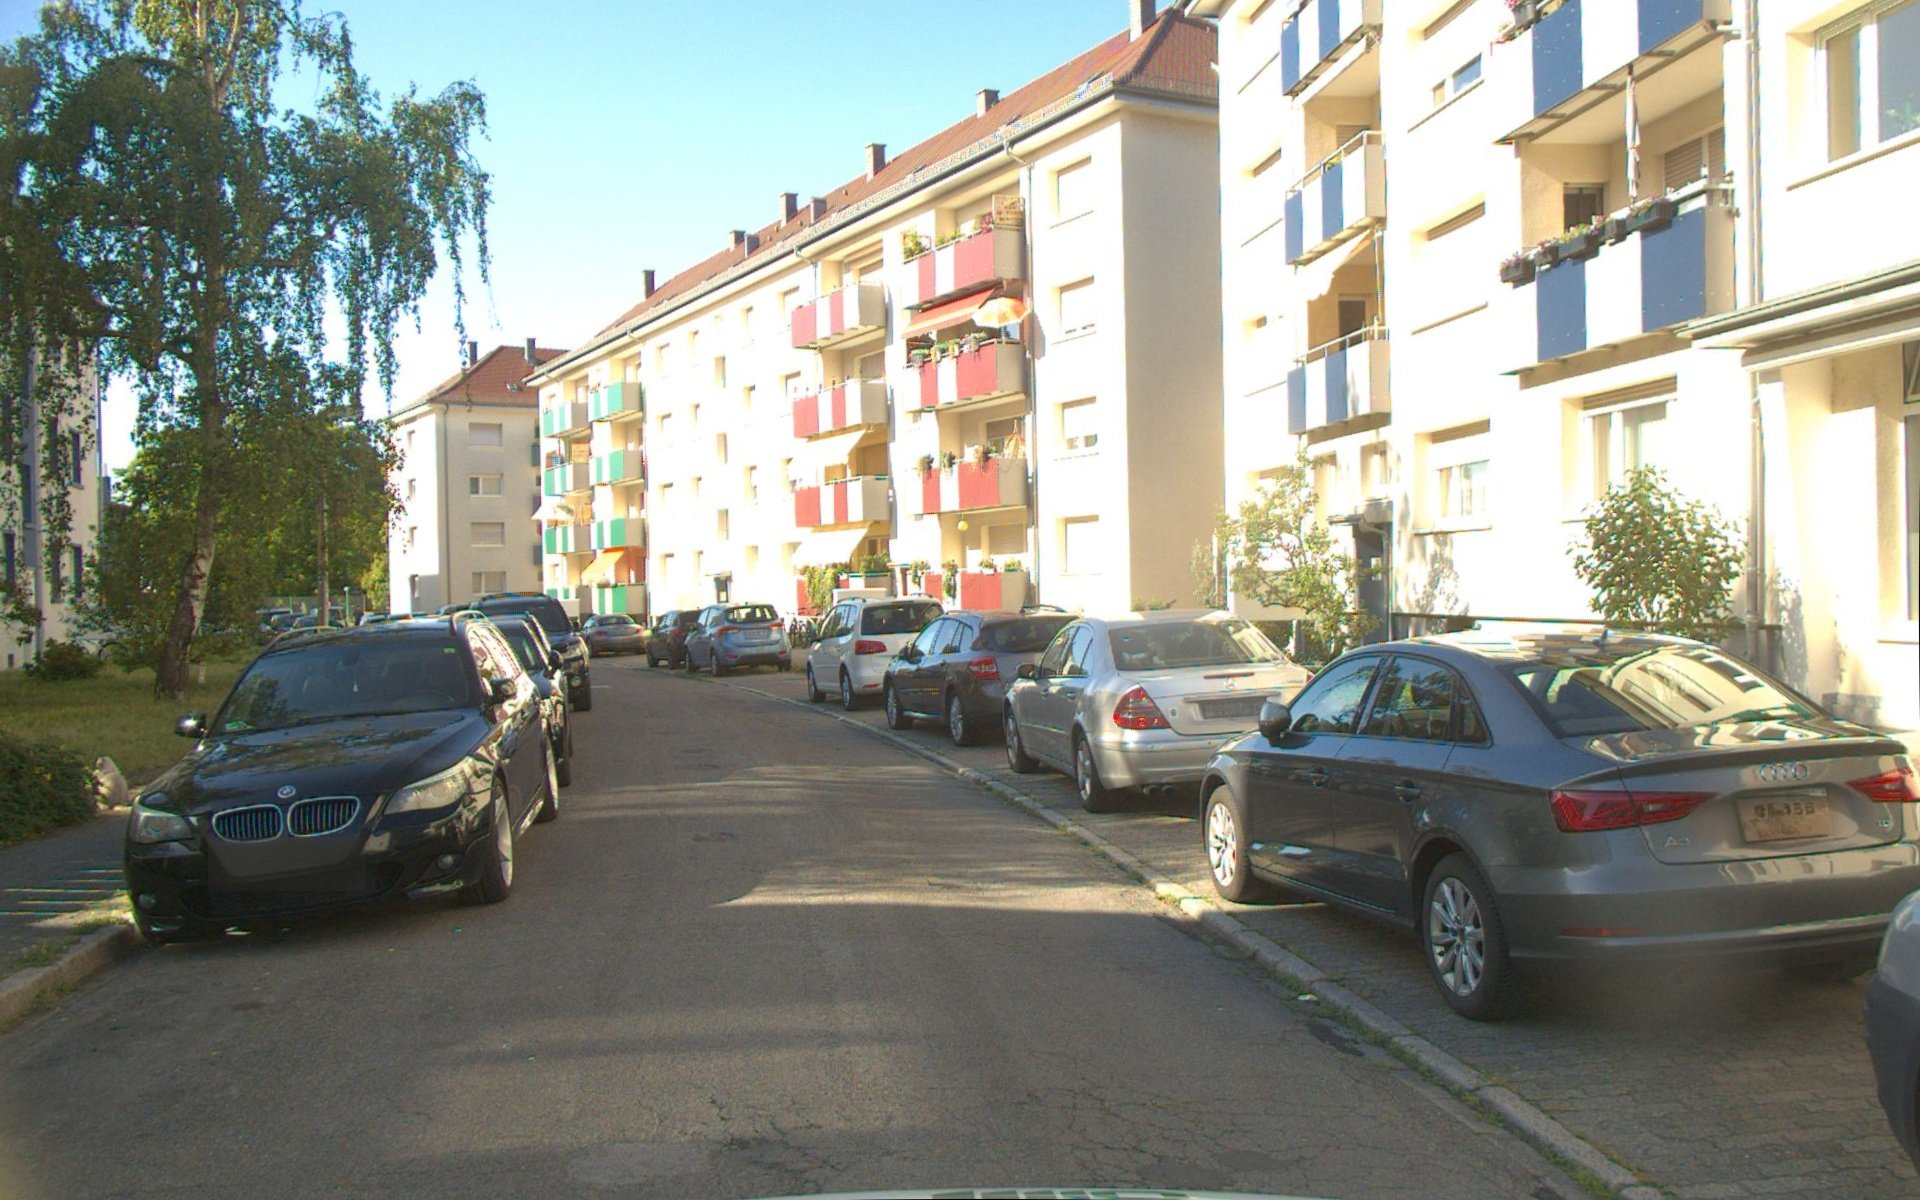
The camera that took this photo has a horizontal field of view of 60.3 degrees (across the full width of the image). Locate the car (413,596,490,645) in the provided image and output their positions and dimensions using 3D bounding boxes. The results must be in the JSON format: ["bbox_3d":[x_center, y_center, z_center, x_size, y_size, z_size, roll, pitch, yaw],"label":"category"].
[{"bbox_3d":[-21.235,0.861,68.998,1.880,1.888,4.292,-2,-1,-34],"label":"car"}]

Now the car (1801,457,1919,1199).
[{"bbox_3d":[3.242,0.547,2.124,1.715,1.855,4.124,-4,1,-8],"label":"car"}]

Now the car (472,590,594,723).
[{"bbox_3d":[-6.564,0.804,25.304,1.530,1.744,4.318,-4,1,-16],"label":"car"}]

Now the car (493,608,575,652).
[{"bbox_3d":[-15.681,1.111,60.802,1.720,1.456,4.310,-4,1,-31],"label":"car"}]

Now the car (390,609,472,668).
[{"bbox_3d":[-15.016,1.055,46.847,1.550,1.490,4.225,-3,1,-26],"label":"car"}]

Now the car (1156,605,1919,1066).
[{"bbox_3d":[2.410,0.772,7.770,1.648,1.431,4.533,-2,0,-11],"label":"car"}]

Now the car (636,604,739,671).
[{"bbox_3d":[-7.136,0.939,42.966,1.712,1.534,3.858,-4,1,-23],"label":"car"}]

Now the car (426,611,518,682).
[{"bbox_3d":[-11.992,1.093,40.526,1.671,1.413,4.128,-3,3,-23],"label":"car"}]

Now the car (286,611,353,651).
[{"bbox_3d":[-25.398,1.239,65.530,1.644,1.468,3.827,-4,1,-33],"label":"car"}]

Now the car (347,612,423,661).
[{"bbox_3d":[-19.716,1.234,56.575,1.724,1.456,4.556,-4,1,-28],"label":"car"}]

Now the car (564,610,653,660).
[{"bbox_3d":[-11.230,1.093,52.618,1.666,1.387,4.201,-4,1,-27],"label":"car"}]

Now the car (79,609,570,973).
[{"bbox_3d":[-3.406,0.866,9.803,1.647,1.478,4.611,-4,1,-9],"label":"car"}]

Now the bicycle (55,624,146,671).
[{"bbox_3d":[-20.322,1.122,39.141,1.790,1.097,0.566,1,-1,-15],"label":"bicycle"}]

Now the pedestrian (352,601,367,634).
[{"bbox_3d":[-33.744,0.978,92.927,0.645,1.847,0.609,-3,0,-23],"label":"pedestrian"}]

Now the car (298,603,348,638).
[{"bbox_3d":[-35.222,1.161,91.393,1.749,1.770,4.047,-4,1,-33],"label":"car"}]

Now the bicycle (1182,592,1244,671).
[{"bbox_3d":[4.153,0.492,27.261,0.505,1.223,1.831,-3,1,-6],"label":"bicycle"}]

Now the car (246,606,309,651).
[{"bbox_3d":[-30.708,1.309,74.350,1.879,1.888,4.147,-2,-1,-33],"label":"car"}]

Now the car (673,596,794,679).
[{"bbox_3d":[-5.292,0.818,38.241,1.742,1.664,4.013,-4,2,-23],"label":"car"}]

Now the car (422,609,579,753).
[{"bbox_3d":[-5.544,0.900,20.319,1.529,1.467,3.955,-4,1,-12],"label":"car"}]

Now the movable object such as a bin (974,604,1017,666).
[{"bbox_3d":[0.635,0.638,30.025,0.573,1.074,0.639,-5,-1,-12],"label":"movable object such as a bin"}]

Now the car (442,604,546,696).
[{"bbox_3d":[-8.872,0.916,31.290,1.668,1.588,4.133,-1,-1,-19],"label":"car"}]

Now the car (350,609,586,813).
[{"bbox_3d":[-4.359,0.879,15.189,1.649,1.467,4.266,-4,1,-12],"label":"car"}]

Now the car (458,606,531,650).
[{"bbox_3d":[-18.264,1.084,64.737,1.666,1.615,3.968,-3,1,-32],"label":"car"}]

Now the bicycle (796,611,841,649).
[{"bbox_3d":[-4.085,0.851,47.626,0.610,0.995,1.881,-5,3,-25],"label":"bicycle"}]

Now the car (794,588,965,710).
[{"bbox_3d":[-1.371,0.745,26.256,1.667,1.684,4.370,-3,0,-16],"label":"car"}]

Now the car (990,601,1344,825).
[{"bbox_3d":[1.499,0.778,13.835,1.647,1.472,4.713,-2,0,-9],"label":"car"}]

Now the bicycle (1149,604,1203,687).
[{"bbox_3d":[3.413,0.692,26.199,0.504,1.223,1.760,-3,1,-2],"label":"bicycle"}]

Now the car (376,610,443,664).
[{"bbox_3d":[-17.307,1.155,51.900,1.461,1.502,3.602,-6,2,-25],"label":"car"}]

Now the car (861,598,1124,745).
[{"bbox_3d":[0.237,0.801,19.710,1.668,1.456,4.663,-3,-1,-18],"label":"car"}]

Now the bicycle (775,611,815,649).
[{"bbox_3d":[-4.722,0.861,47.340,0.491,1.037,1.826,-3,1,-26],"label":"bicycle"}]
